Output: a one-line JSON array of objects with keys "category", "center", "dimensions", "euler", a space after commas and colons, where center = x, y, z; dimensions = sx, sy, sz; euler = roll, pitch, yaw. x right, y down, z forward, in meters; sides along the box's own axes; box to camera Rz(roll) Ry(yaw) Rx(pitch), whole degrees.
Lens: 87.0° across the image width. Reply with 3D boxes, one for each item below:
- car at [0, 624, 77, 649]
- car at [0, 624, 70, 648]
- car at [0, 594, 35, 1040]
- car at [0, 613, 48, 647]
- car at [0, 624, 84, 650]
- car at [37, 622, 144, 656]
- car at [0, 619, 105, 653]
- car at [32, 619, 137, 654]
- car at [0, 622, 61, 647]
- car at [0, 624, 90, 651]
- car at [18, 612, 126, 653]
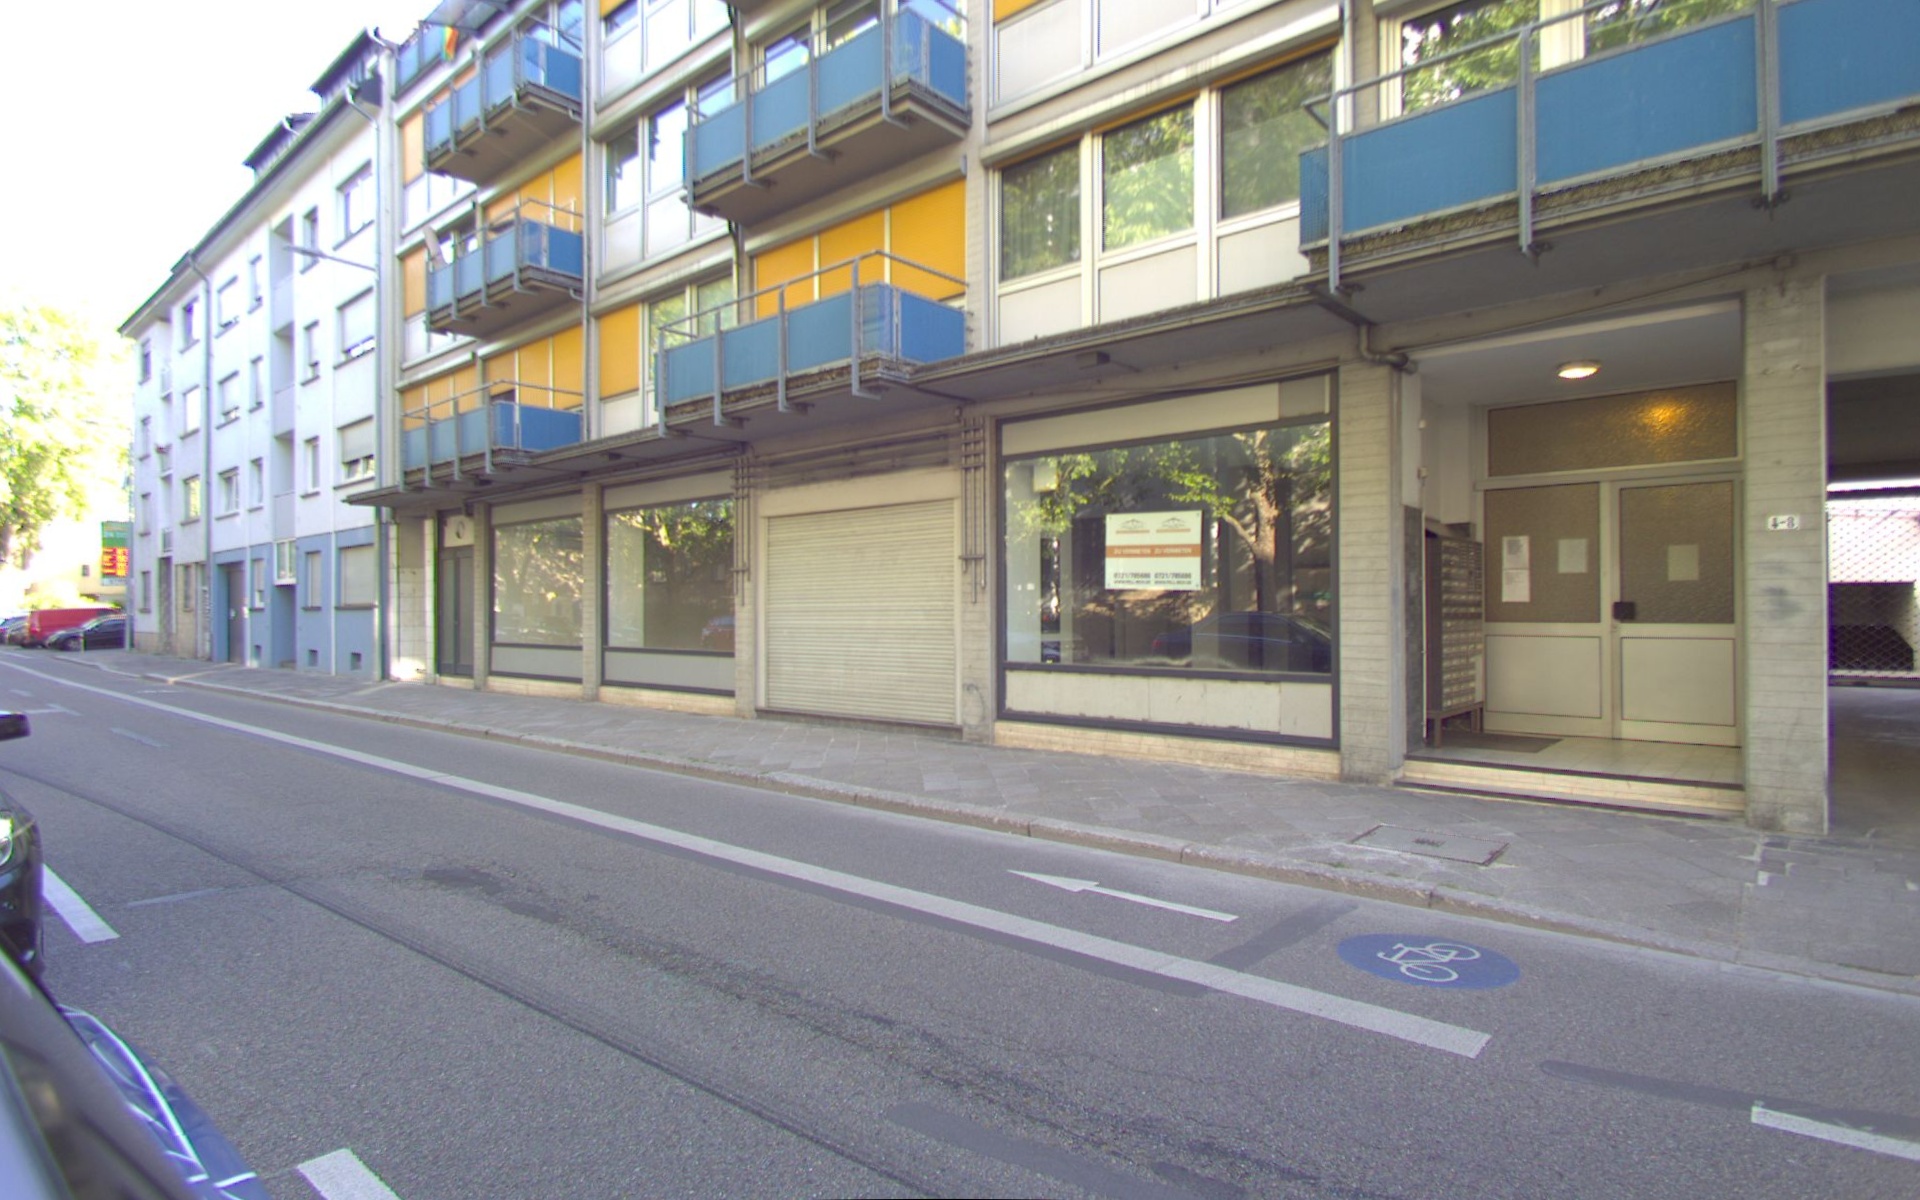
[{"category": "car", "center": [-55.372, 2.183, 60.434], "dimensions": [1.525, 1.343, 3.854], "euler": [-1, 0, 42]}, {"category": "car", "center": [-57.178, 2.206, 61.996], "dimensions": [1.525, 1.343, 3.854], "euler": [-1, 0, 42]}, {"category": "car", "center": [-5.426, 0.766, 4.202], "dimensions": [4.291, 1.515, 1.805], "euler": [-1, 0, 40]}, {"category": "car", "center": [-62.707, 1.974, 66.584], "dimensions": [1.725, 2.193, 3.854], "euler": [-1, 0, 42]}, {"category": "car", "center": [-53.357, 2.121, 58.555], "dimensions": [1.594, 1.385, 3.854], "euler": [-1, 0, 42]}, {"category": "car", "center": [-39.789, 1.750, 46.346], "dimensions": [1.534, 1.420, 3.551], "euler": [-2, -1, 42]}, {"category": "car", "center": [-46.047, 1.785, 51.398], "dimensions": [1.603, 1.598, 3.854], "euler": [-1, 0, 42]}, {"category": "car", "center": [-41.507, 1.705, 48.042], "dimensions": [1.602, 1.521, 3.620], "euler": [-1, 0, 42]}, {"category": "car", "center": [-59.208, 2.195, 63.753], "dimensions": [1.539, 1.451, 3.733], "euler": [-1, 0, 42]}, {"category": "car", "center": [-51.843, 2.102, 57.216], "dimensions": [1.594, 1.385, 3.854], "euler": [-1, 0, 42]}, {"category": "car", "center": [-43.700, 1.569, 49.859], "dimensions": [1.749, 1.921, 3.854], "euler": [-1, -1, 42]}]
